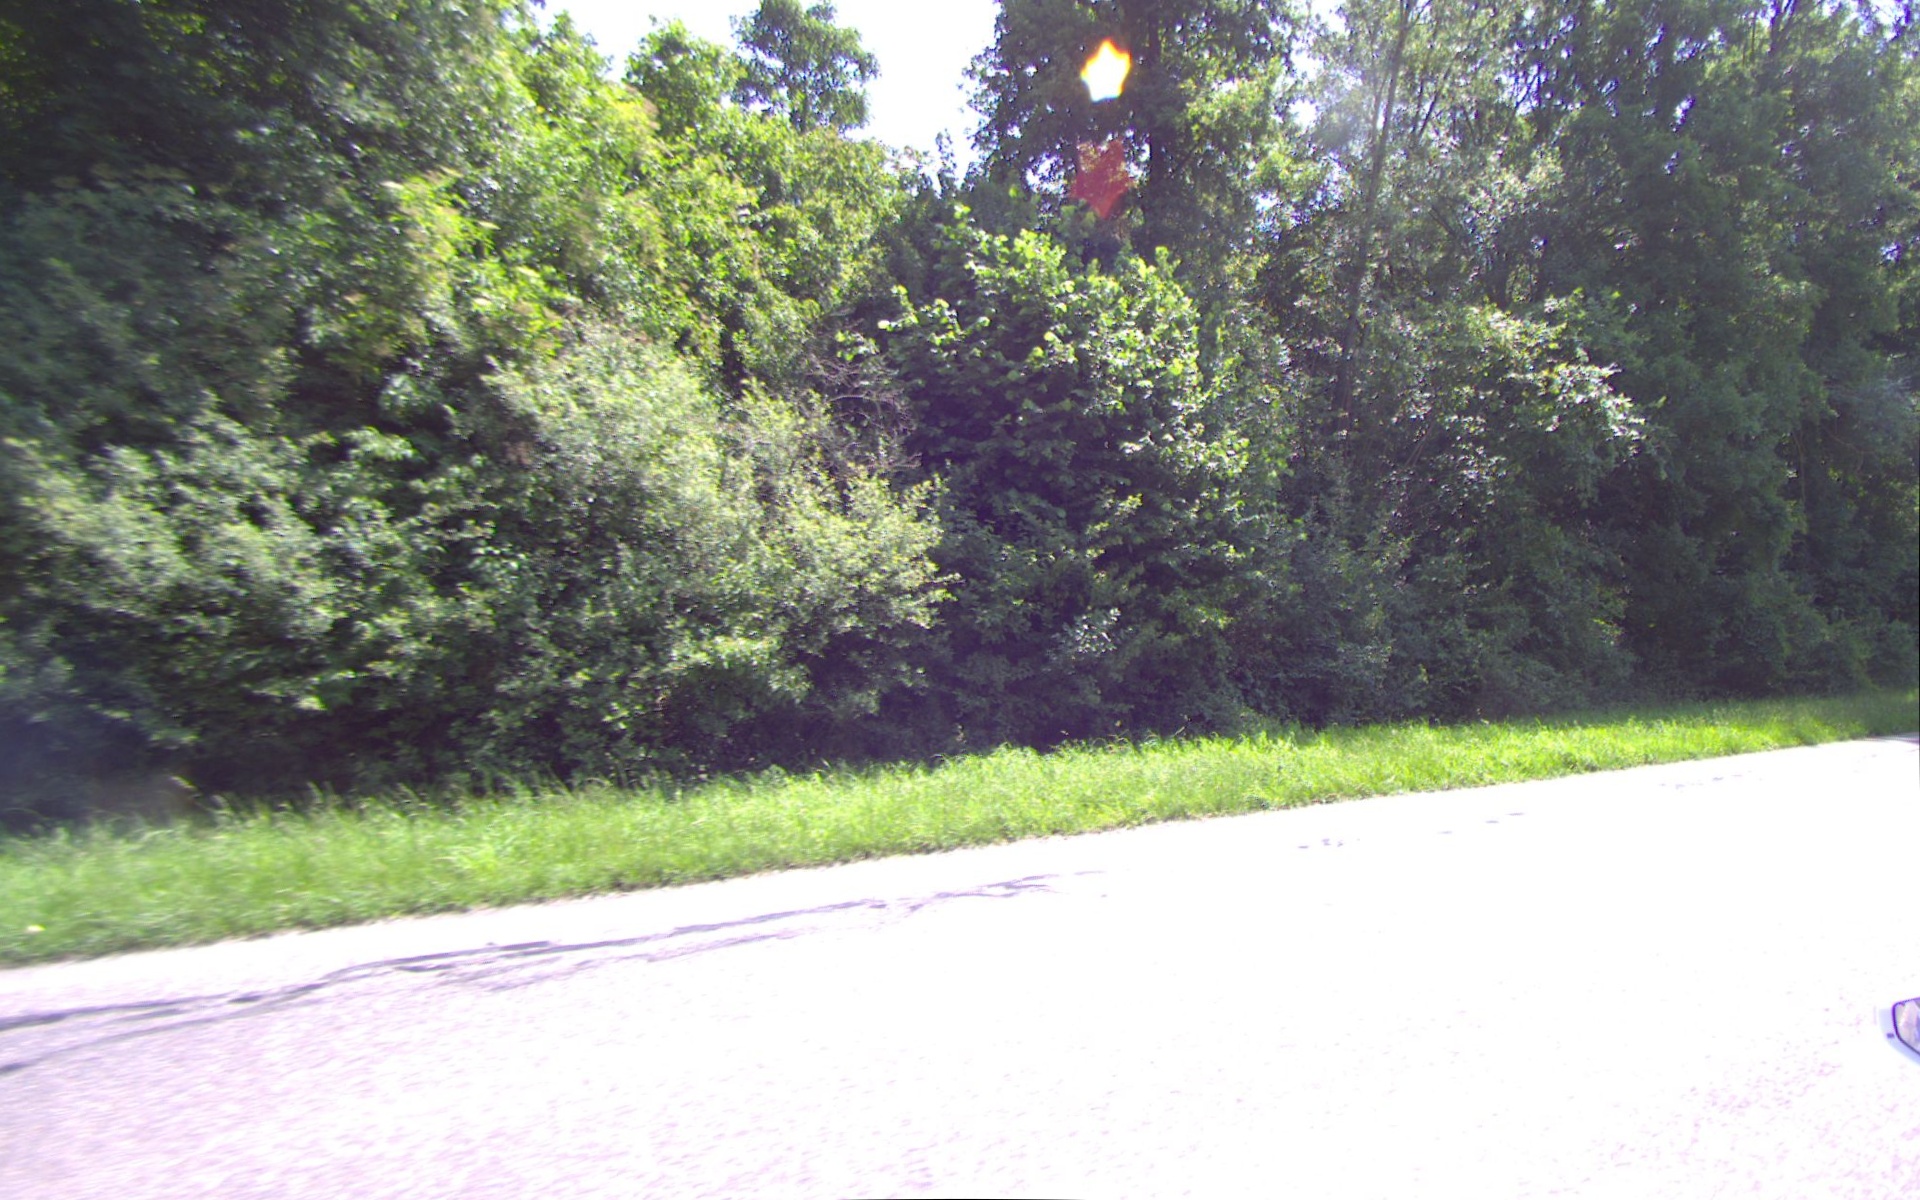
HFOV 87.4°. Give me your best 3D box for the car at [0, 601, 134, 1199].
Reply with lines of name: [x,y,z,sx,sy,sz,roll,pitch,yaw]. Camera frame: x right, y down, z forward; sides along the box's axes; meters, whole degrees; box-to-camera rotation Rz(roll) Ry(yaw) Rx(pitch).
car: [-3.915,0.709,1.327,4.059,1.469,1.776,1,0,-29]
